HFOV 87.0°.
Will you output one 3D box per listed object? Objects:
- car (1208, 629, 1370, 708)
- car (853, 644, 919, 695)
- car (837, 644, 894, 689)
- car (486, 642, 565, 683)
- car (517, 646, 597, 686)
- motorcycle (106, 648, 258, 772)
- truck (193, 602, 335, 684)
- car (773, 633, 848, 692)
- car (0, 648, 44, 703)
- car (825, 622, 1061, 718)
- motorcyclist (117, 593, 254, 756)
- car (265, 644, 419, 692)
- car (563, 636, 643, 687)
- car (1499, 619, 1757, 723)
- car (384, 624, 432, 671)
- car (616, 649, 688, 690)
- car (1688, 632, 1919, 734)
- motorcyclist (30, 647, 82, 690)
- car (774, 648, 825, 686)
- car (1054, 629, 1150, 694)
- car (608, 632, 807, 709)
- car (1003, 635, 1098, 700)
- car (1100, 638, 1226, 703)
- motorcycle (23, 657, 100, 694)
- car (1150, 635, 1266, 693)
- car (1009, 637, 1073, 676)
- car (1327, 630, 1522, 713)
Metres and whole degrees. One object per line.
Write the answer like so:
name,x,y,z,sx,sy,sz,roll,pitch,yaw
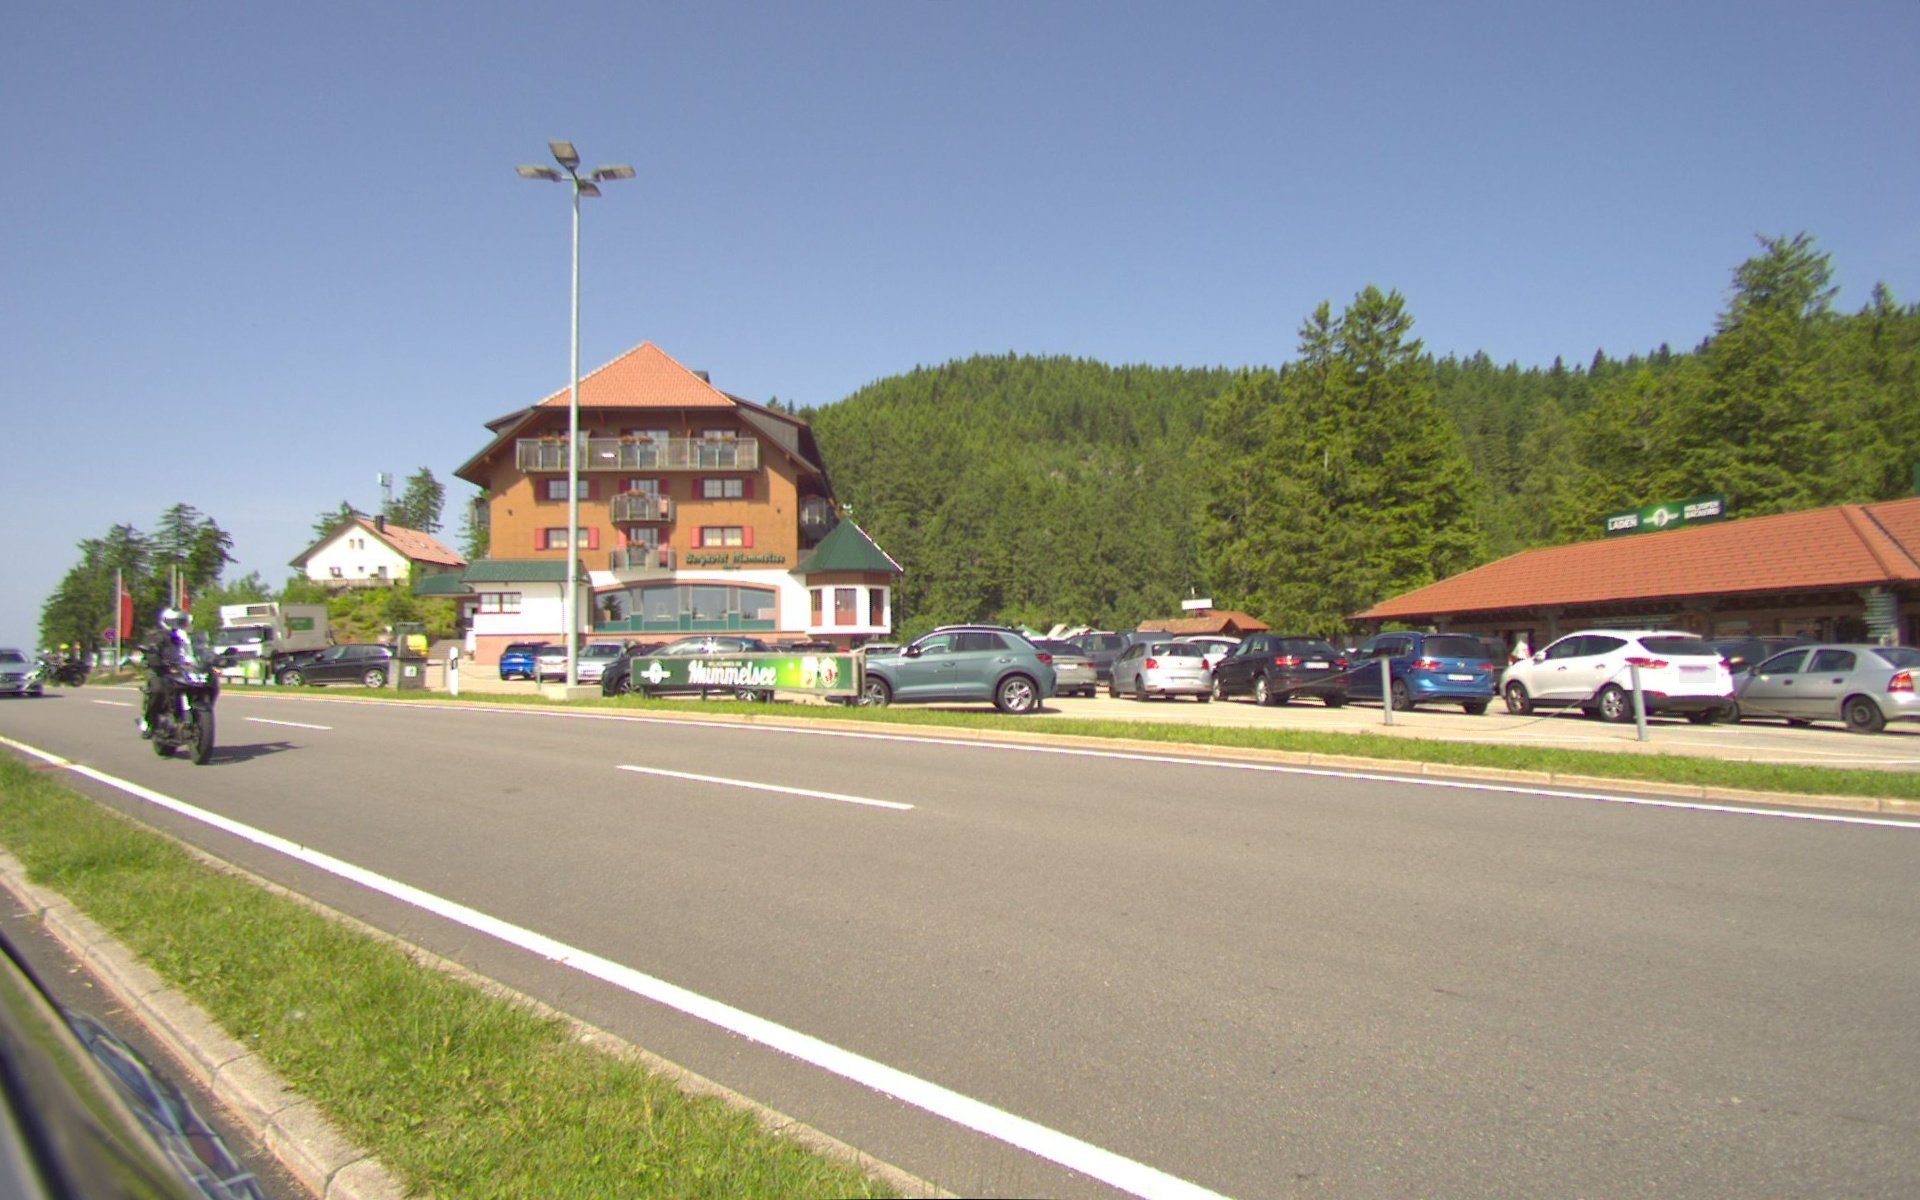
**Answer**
car,7.192,1.532,22.602,1.969,1.586,4.004,0,-4,-5
car,-2.211,2.051,29.770,1.785,1.381,4.004,-1,-4,-5
car,-3.574,2.483,37.759,1.968,1.564,4.006,0,-4,-8
car,-19.081,2.745,44.627,1.910,1.676,4.550,-1,-3,-6
car,-16.705,2.752,42.161,1.970,1.558,4.003,-1,-4,-4
motorcycle,-8.960,1.193,11.624,2.274,1.266,0.868,-2,-2,39
truck,-37.952,2.270,55.640,3.020,4.002,8.790,-3,-1,-11
car,-4.701,2.004,32.332,1.800,1.717,3.999,-1,-4,0
car,-26.934,2.107,28.017,3.996,1.468,1.758,-4,-5,40
car,-0.348,1.232,18.147,3.999,1.579,1.742,-1,-3,-4
motorcyclist,-8.893,0.822,11.615,1.450,1.731,0.914,-2,-2,39
car,-21.179,2.345,34.816,4.129,1.552,1.809,-1,-4,-5
car,-14.234,2.491,40.641,1.808,1.878,4.532,-1,-4,-3
car,12.125,1.312,18.745,1.749,1.685,4.036,1,-4,-6
car,-31.145,2.698,57.077,1.966,2.515,4.010,2,-5,-34
car,-11.599,2.650,38.369,1.885,1.441,4.004,0,-4,-6
car,14.642,1.366,16.872,1.749,1.479,4.030,1,-4,-6
motorcyclist,-37.535,2.840,42.036,1.050,1.733,1.247,-1,-2,2
car,-6.385,2.697,40.575,1.905,1.429,4.006,0,-4,-8
car,4.389,1.960,31.947,1.968,1.918,4.006,0,-4,-8
car,-5.477,1.535,22.267,3.945,1.564,1.782,-1,-4,1
car,2.321,1.797,26.935,1.871,1.557,4.003,-1,-4,-4
car,4.754,1.686,24.325,1.878,1.431,4.004,0,-4,-5
motorcycle,-37.501,3.130,42.299,0.992,1.417,2.443,-1,-2,1
car,7.265,1.915,30.054,1.968,1.586,4.006,0,-4,-8
car,3.321,2.398,42.361,1.880,1.542,3.887,0,-4,-7
car,9.698,1.508,21.552,1.969,1.586,4.004,0,-4,-5
